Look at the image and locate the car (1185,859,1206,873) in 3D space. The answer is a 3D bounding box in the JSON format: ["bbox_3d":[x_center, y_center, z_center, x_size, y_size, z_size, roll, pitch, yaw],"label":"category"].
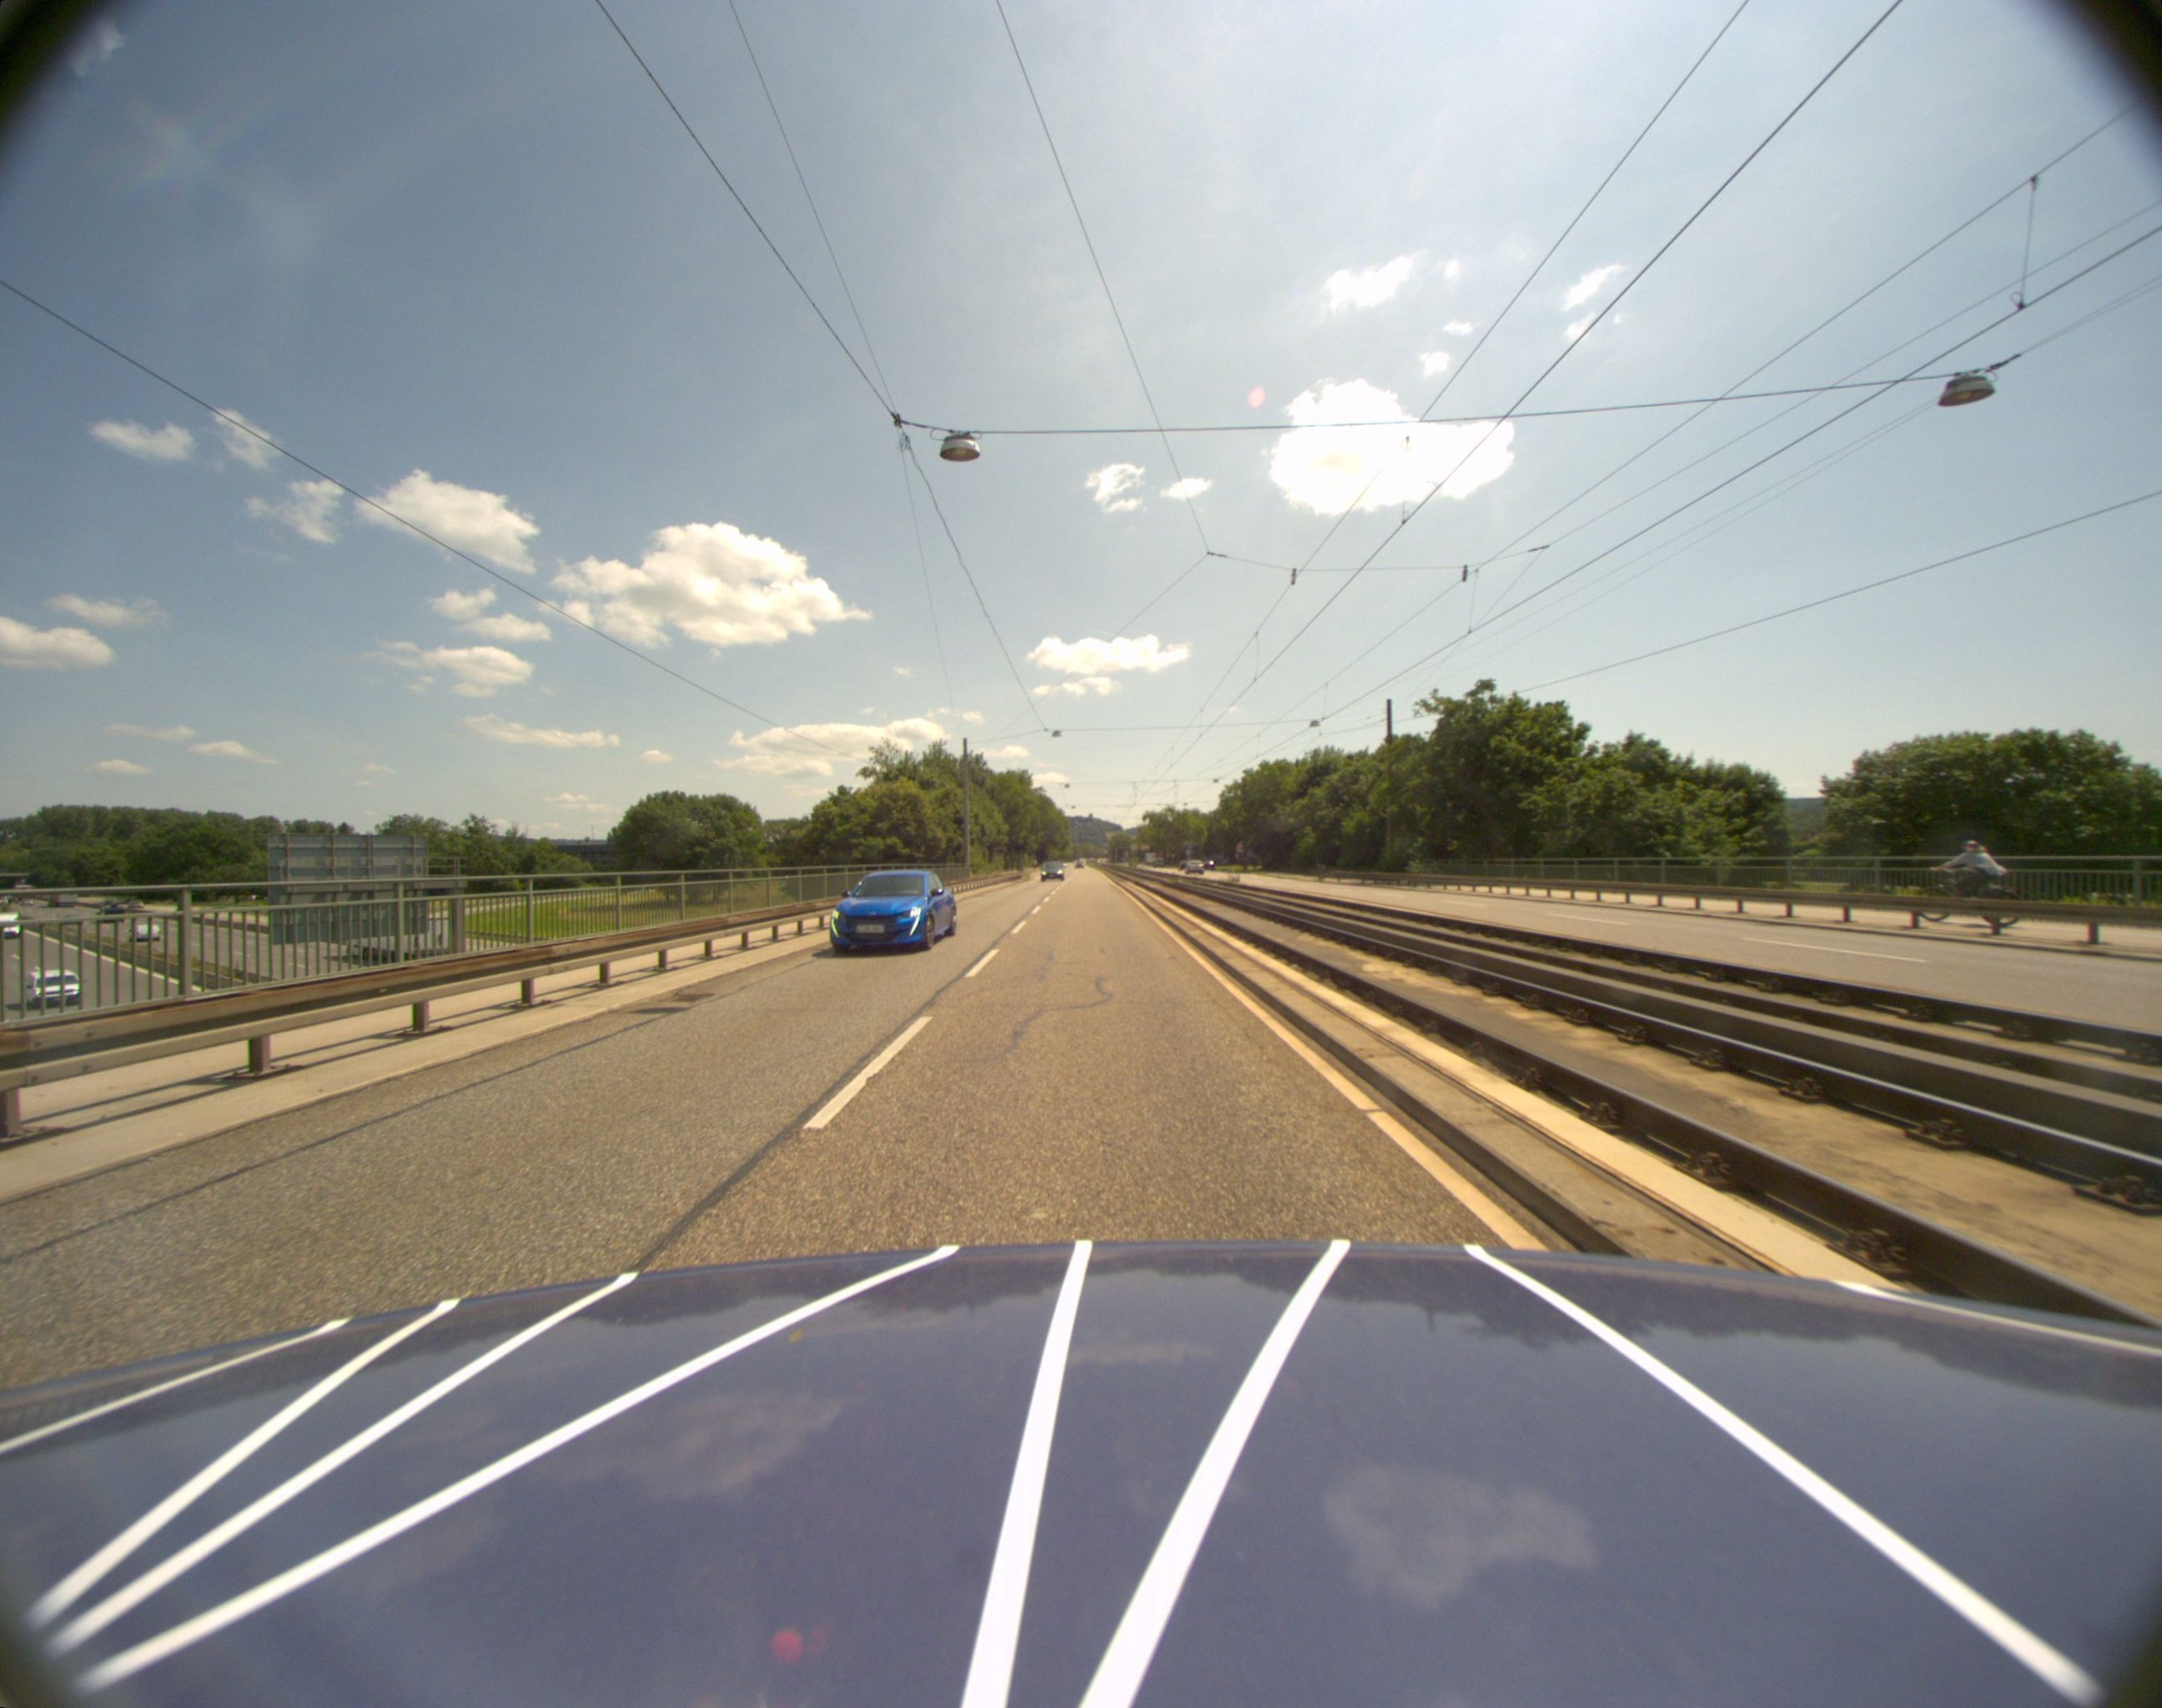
[{"bbox_3d":[12.357,1.296,82.215,1.715,1.412,4.624,0,0,1],"label":"car"}]

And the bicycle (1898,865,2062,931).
[{"bbox_3d":[18.028,0.837,15.336,0.859,1.178,2.062,-2,0,0],"label":"bicycle"}]

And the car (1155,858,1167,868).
[{"bbox_3d":[16.075,1.821,153.046,1.816,1.914,5.179,0,0,1],"label":"car"}]

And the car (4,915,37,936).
[{"bbox_3d":[-128.516,8.614,92.041,3.991,2.143,1.964,-6,0,32],"label":"car"}]

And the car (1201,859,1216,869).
[{"bbox_3d":[18.347,1.419,109.216,1.567,1.339,3.929,0,0,1],"label":"car"}]

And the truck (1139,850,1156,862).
[{"bbox_3d":[20.932,0.684,239.399,3.421,3.680,6.751,0,0,-16],"label":"truck"}]

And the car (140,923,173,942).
[{"bbox_3d":[-106.191,8.956,87.251,3.989,1.849,1.821,-2,1,31],"label":"car"}]

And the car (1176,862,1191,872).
[{"bbox_3d":[14.692,1.832,108.871,1.578,1.392,3.938,0,0,0],"label":"car"}]

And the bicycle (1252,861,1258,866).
[{"bbox_3d":[28.029,1.498,122.227,0.587,0.814,2.069,-3,1,6],"label":"bicycle"}]

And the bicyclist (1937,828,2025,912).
[{"bbox_3d":[18.090,0.315,15.295,0.765,1.612,0.838,-2,1,0],"label":"bicyclist"}]

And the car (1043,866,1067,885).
[{"bbox_3d":[-2.085,1.700,61.295,1.769,1.359,3.743,-2,0,0],"label":"car"}]

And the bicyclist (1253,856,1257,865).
[{"bbox_3d":[28.023,1.001,122.229,0.570,1.360,0.631,-2,1,6],"label":"bicyclist"}]

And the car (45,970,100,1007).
[{"bbox_3d":[-62.903,8.344,47.367,3.991,1.914,1.633,-6,0,33],"label":"car"}]

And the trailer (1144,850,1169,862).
[{"bbox_3d":[23.024,0.631,231.754,3.391,3.633,12.093,0,0,-16],"label":"trailer"}]

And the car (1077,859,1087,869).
[{"bbox_3d":[0.226,2.012,155.914,1.999,2.002,3.999,-2,0,0],"label":"car"}]

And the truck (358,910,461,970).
[{"bbox_3d":[-59.942,7.423,67.578,14.746,4.196,2.836,-1,3,33],"label":"truck"}]

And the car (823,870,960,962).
[{"bbox_3d":[-3.492,1.091,14.694,1.660,1.397,3.743,-2,0,0],"label":"car"}]
